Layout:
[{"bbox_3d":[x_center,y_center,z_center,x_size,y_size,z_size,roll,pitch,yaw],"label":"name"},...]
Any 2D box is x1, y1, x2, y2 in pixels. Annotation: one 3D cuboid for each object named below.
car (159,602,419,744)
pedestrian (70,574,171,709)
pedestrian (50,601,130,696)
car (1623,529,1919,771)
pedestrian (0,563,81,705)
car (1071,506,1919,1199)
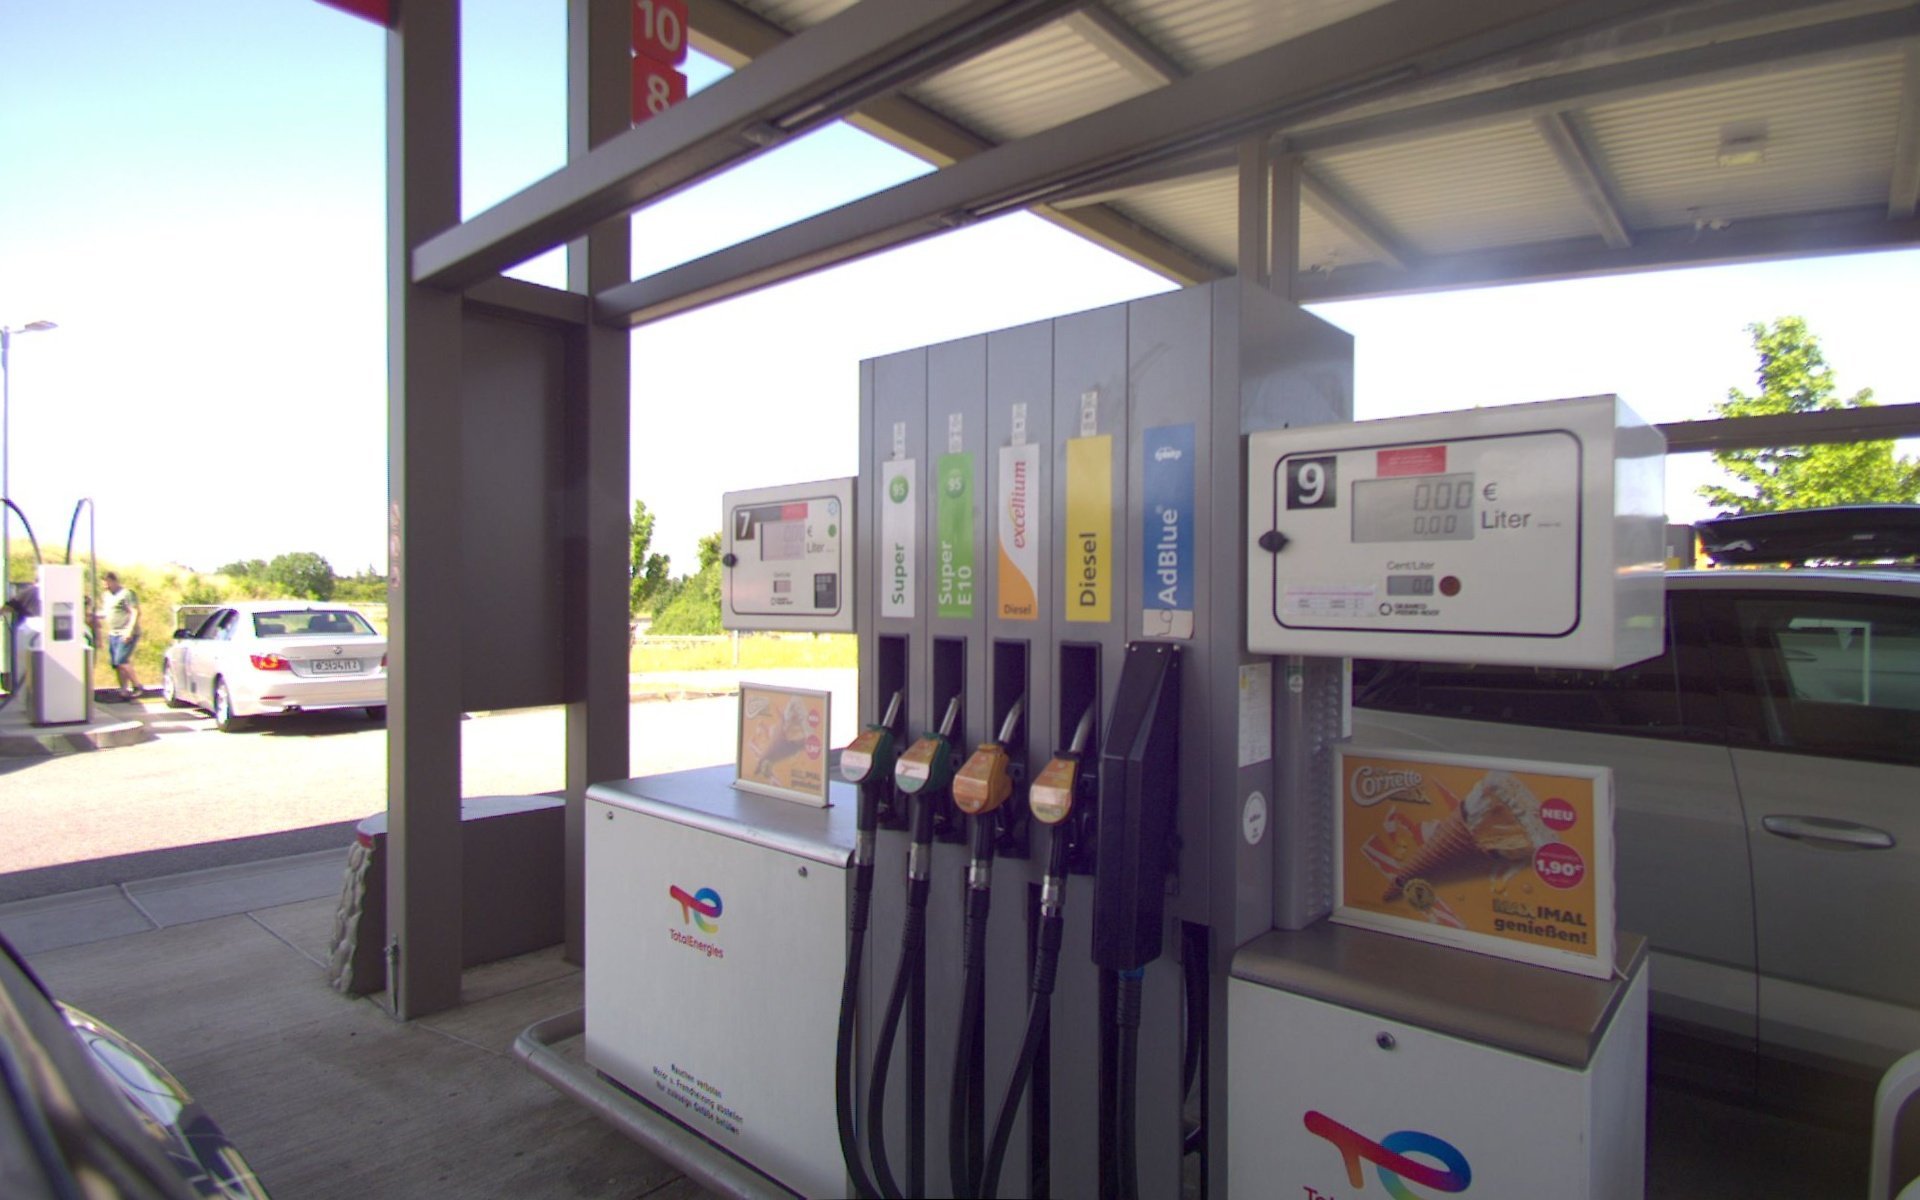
[{"bbox_3d":[-8.579,0.774,12.786,4.322,1.439,1.768,1,0,43],"label":"car"},{"bbox_3d":[-11.453,0.550,13.825,0.705,1.762,0.838,-1,-1,24],"label":"pedestrian"},{"bbox_3d":[-12.256,0.670,14.271,0.569,1.316,0.669,0,-1,-3],"label":"pedestrian"},{"bbox_3d":[7.714,0.349,7.522,4.529,1.700,1.842,-1,-1,38],"label":"car"},{"bbox_3d":[-12.097,0.426,13.094,0.833,1.783,0.709,0,-1,-2],"label":"pedestrian"},{"bbox_3d":[2.576,0.584,2.731,4.324,1.553,1.761,-1,-1,42],"label":"car"}]
